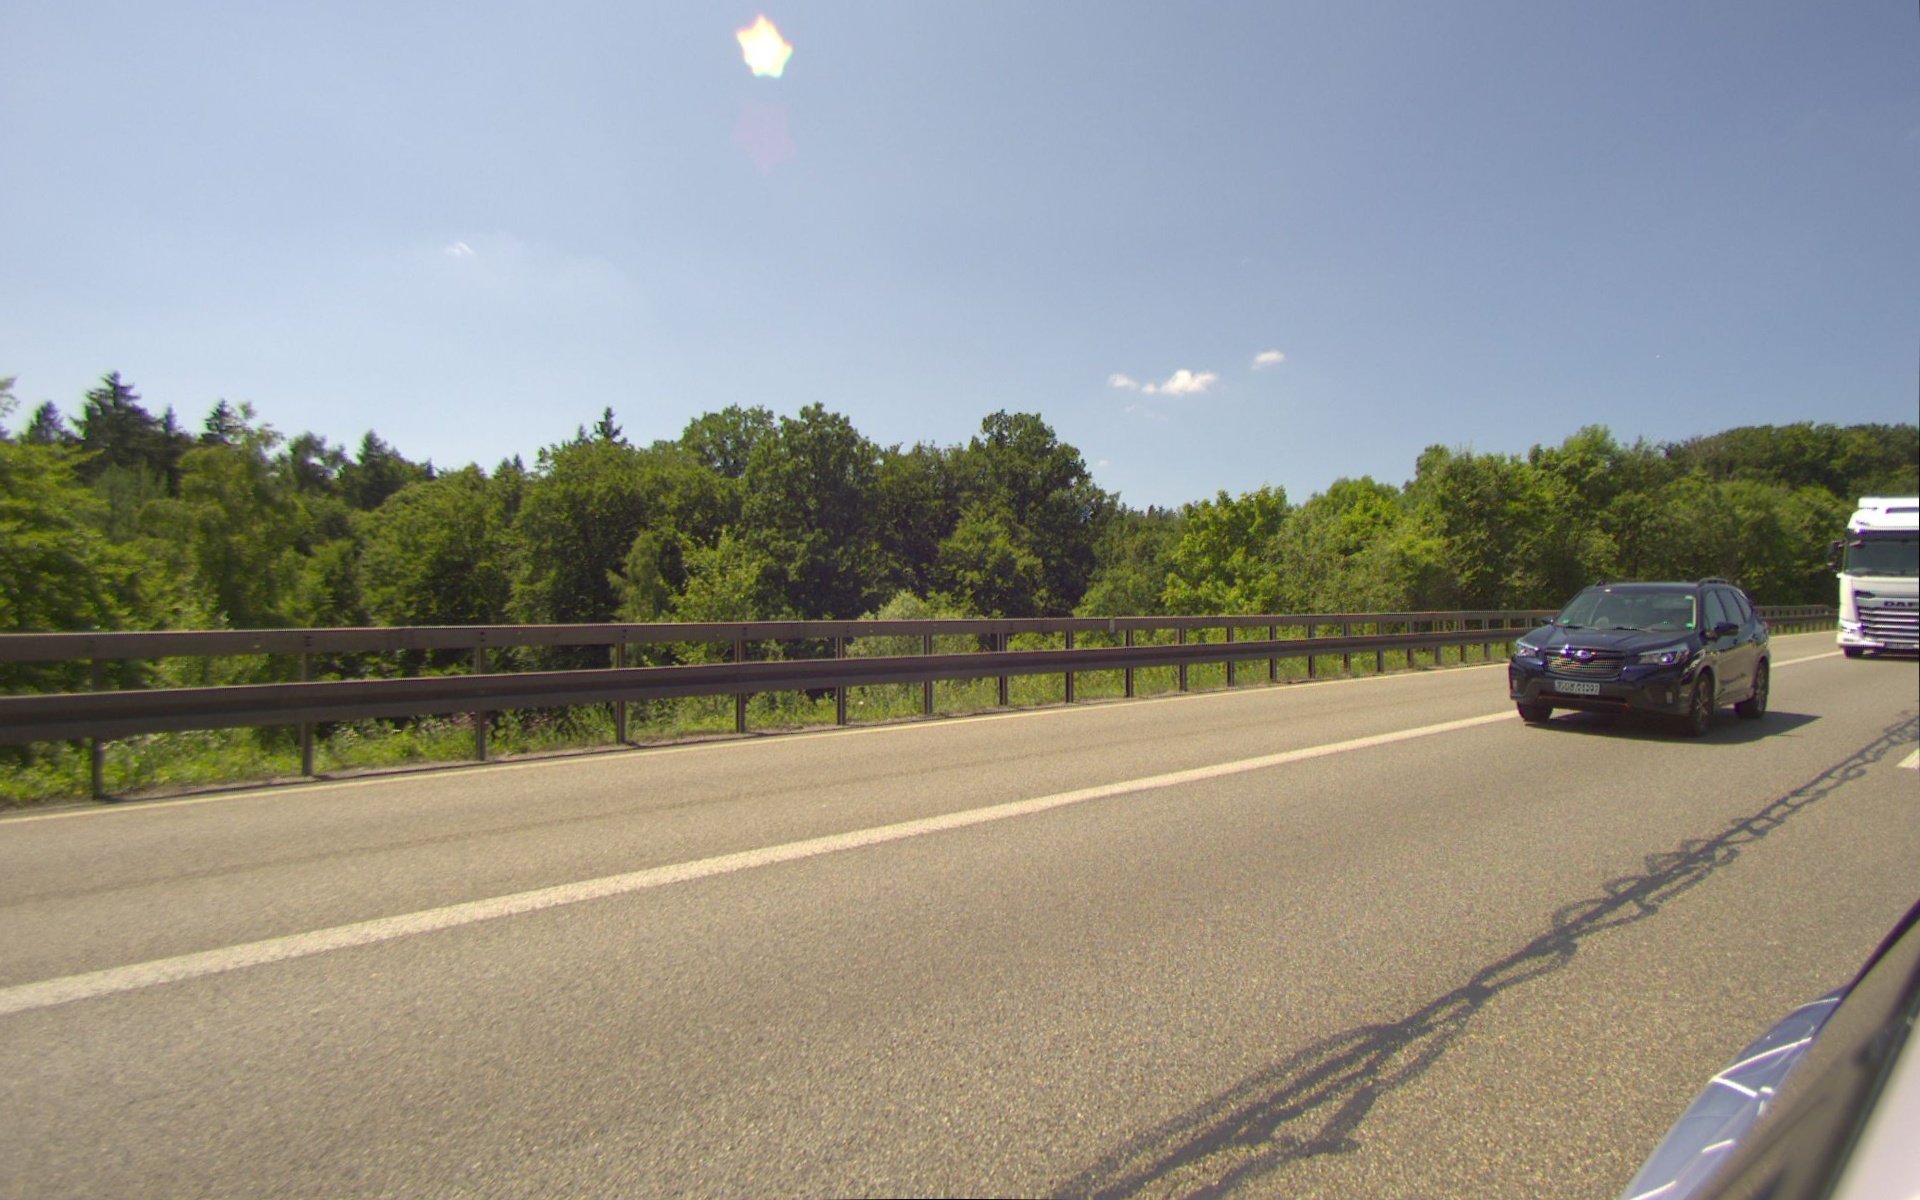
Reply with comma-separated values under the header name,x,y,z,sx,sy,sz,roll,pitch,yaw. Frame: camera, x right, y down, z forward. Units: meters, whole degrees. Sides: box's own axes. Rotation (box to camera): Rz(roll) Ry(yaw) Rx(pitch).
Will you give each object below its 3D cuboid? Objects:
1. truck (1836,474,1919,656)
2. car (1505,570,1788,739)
name,x,y,z,sx,sy,sz,roll,pitch,yaw
truck,28.396,-0.902,28.726,15.979,4.221,2.789,-1,1,-40
car,8.339,0.518,12.157,4.130,1.688,1.815,-1,1,-41
